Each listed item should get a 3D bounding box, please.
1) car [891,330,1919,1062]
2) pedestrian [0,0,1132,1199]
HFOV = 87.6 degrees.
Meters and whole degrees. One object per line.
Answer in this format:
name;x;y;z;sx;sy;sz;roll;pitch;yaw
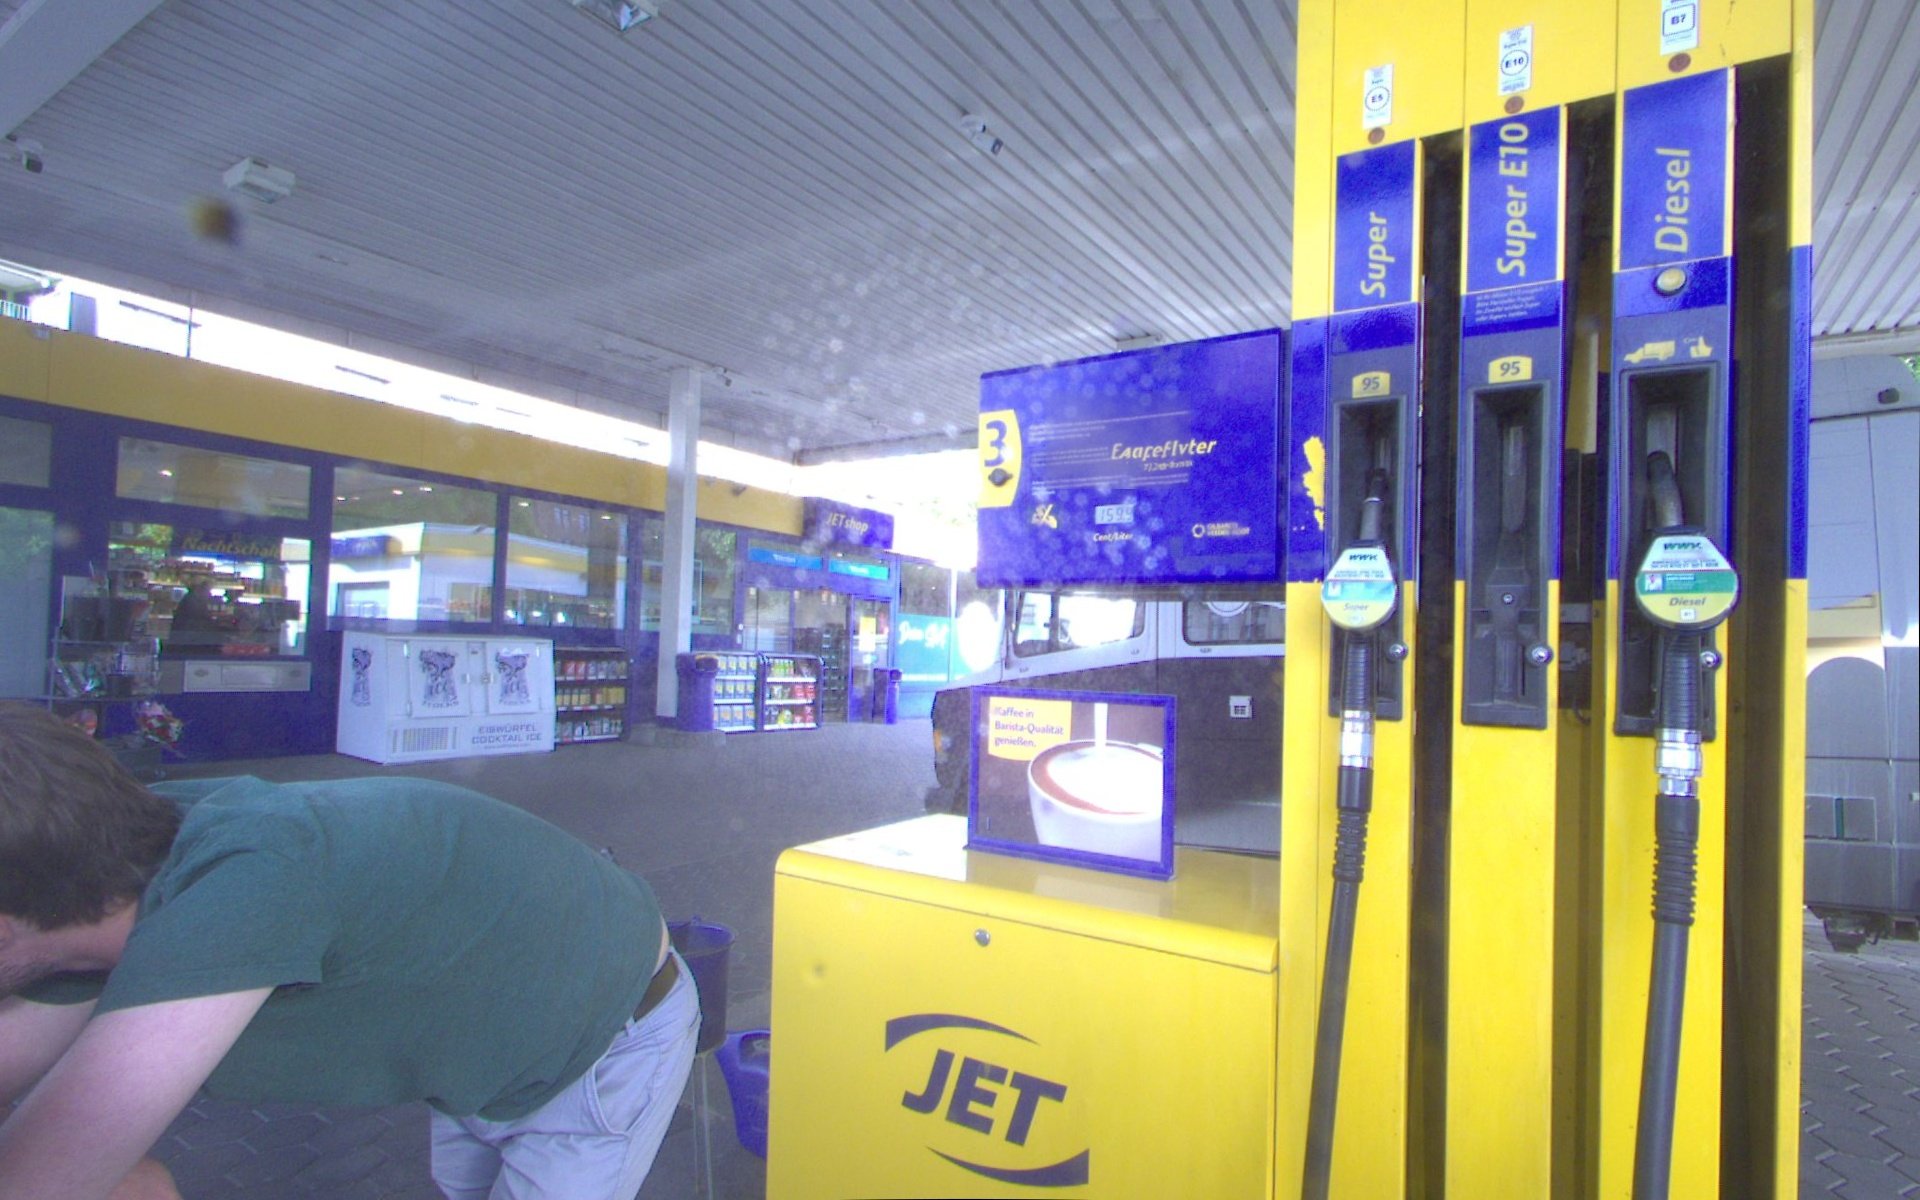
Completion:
car;2.349;0.440;5.989;5.271;2.759;2.193;-1;-3;34
pedestrian;-0.523;0.582;1.072;0.981;1.750;1.175;-2;-2;36
